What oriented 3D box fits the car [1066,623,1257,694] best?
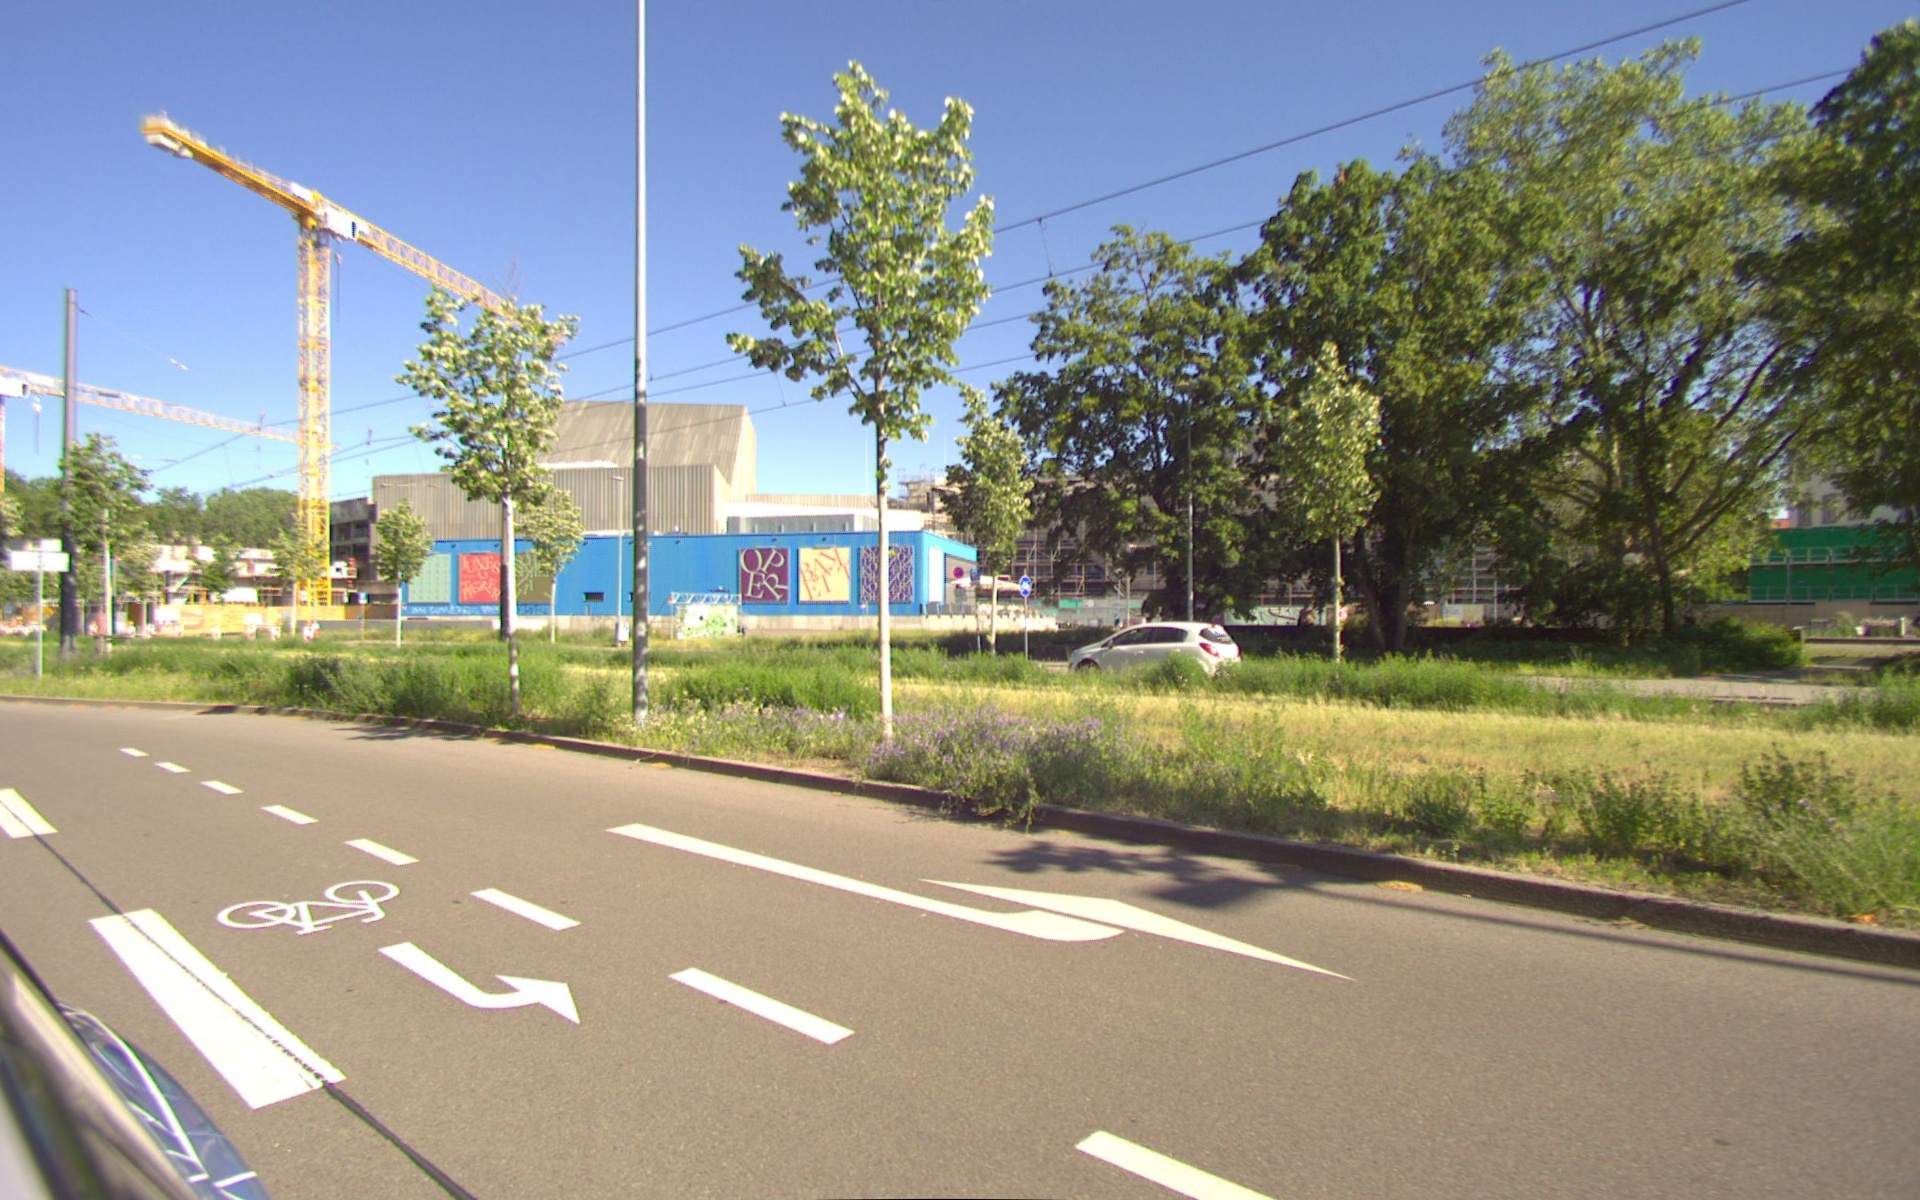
[{"bbox_3d":[4.404,1.245,22.402,3.830,1.409,1.616,-2,-1,40],"label":"car"}]

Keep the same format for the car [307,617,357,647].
[{"bbox_3d":[-41.875,2.097,67.439,3.999,1.811,1.779,0,1,42],"label":"car"}]

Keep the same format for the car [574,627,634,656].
[{"bbox_3d":[-21.345,2.445,60.665,3.853,1.547,1.543,0,1,38],"label":"car"}]
